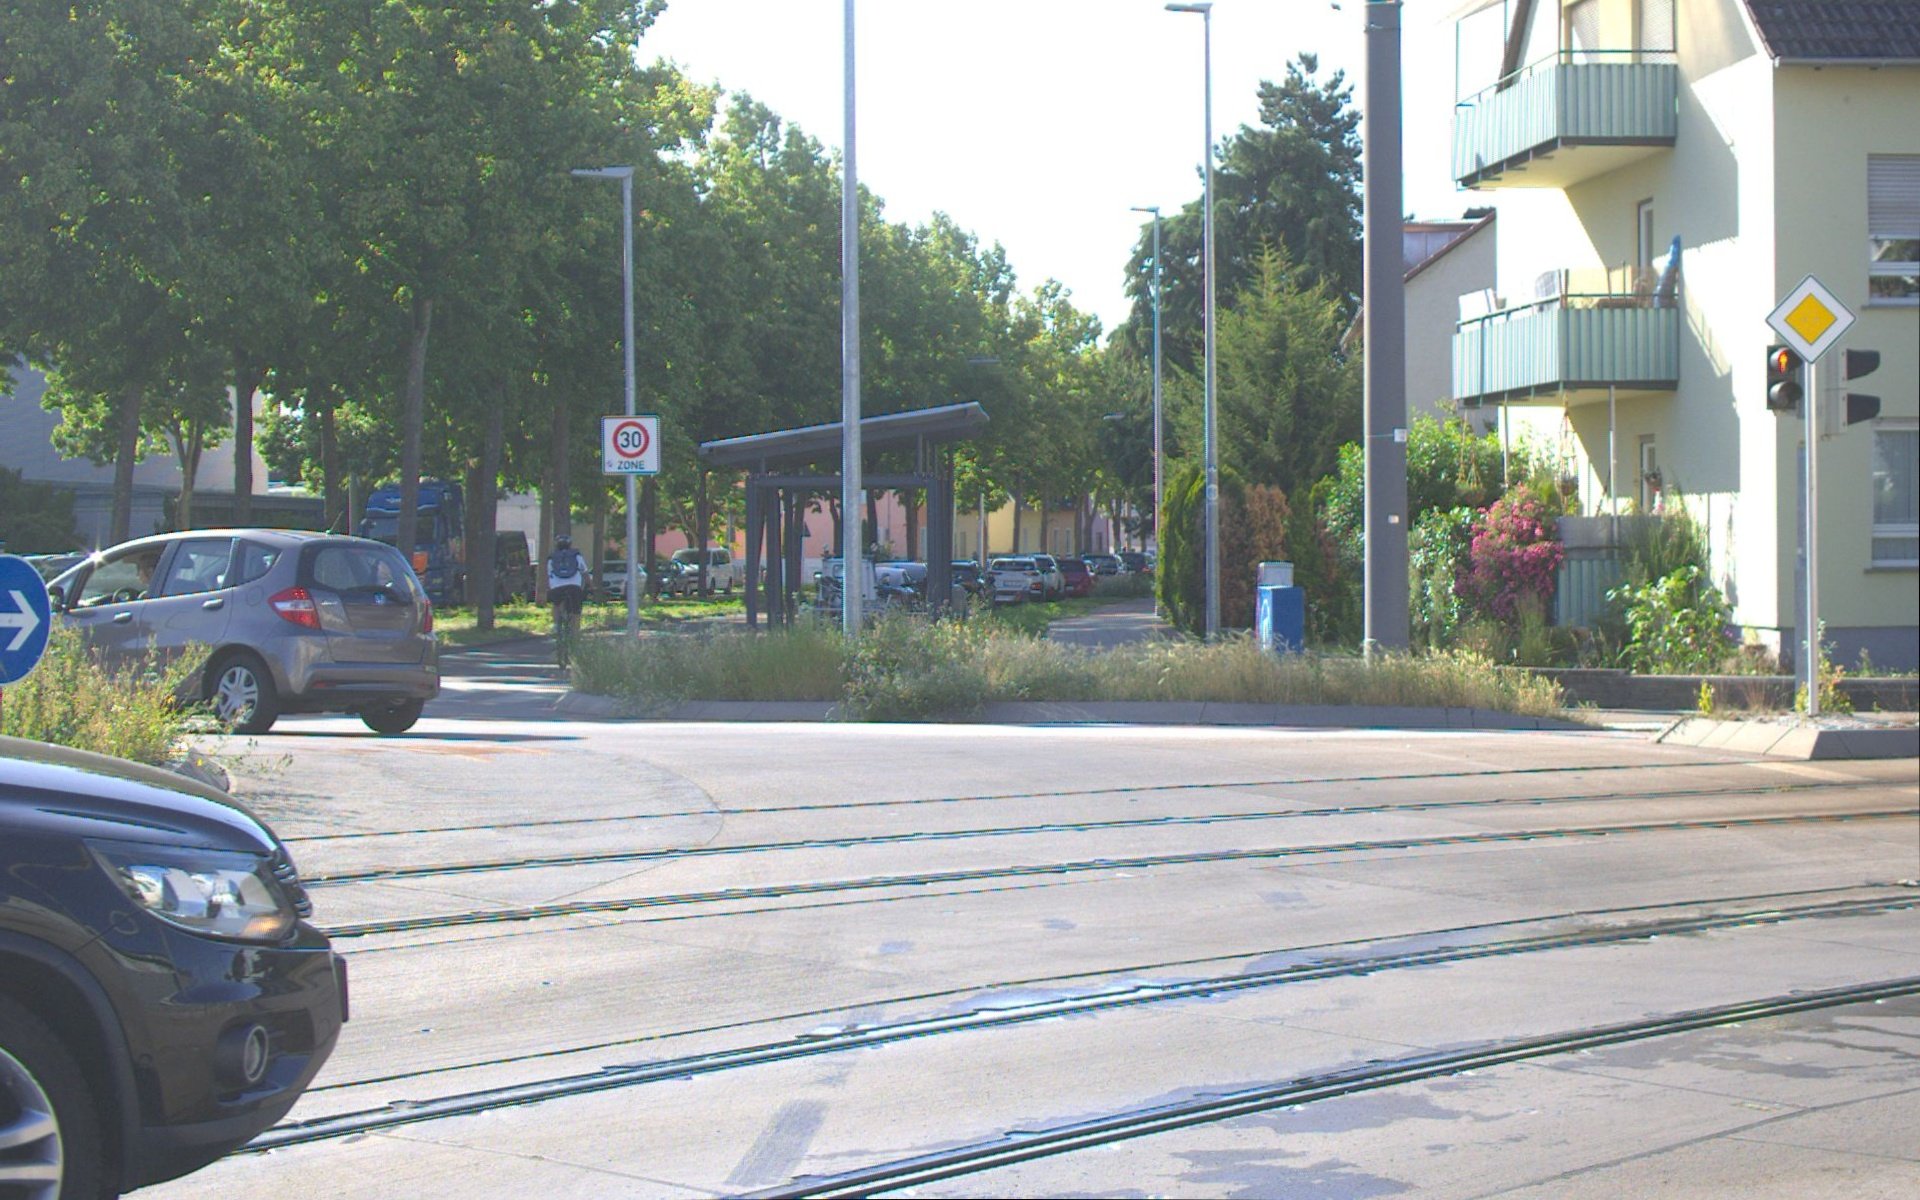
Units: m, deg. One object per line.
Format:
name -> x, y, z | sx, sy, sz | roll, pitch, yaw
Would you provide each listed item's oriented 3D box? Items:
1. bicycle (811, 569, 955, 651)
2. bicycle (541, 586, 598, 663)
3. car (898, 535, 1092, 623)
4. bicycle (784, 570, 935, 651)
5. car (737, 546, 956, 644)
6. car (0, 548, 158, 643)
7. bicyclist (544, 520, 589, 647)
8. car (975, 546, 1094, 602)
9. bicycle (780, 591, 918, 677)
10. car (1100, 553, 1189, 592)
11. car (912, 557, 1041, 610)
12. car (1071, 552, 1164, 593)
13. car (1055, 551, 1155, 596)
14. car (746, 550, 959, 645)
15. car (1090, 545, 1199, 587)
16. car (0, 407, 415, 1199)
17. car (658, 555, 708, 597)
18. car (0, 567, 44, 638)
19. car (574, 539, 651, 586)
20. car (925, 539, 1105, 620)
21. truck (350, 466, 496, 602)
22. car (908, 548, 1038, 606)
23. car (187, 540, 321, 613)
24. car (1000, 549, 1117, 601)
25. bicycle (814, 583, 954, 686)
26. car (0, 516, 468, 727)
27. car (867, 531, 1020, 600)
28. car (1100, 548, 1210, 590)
bicycle -> -1.003, 0.125, 44.617 | 1.840, 1.024, 0.689 | 1, 1, -2
bicycle -> -5.335, 0.333, 46.979 | 0.766, 1.033, 1.534 | 0, -1, -6
car -> 0.663, -0.401, 63.870 | 3.517, 1.528, 1.577 | 1, 1, 2
bicycle -> -1.332, 0.135, 45.514 | 1.973, 1.024, 0.696 | 1, 1, -2
car -> -1.862, -0.097, 57.157 | 3.517, 1.528, 1.577 | 1, 1, 2
car -> -15.733, -0.104, 60.396 | 1.831, 1.575, 4.440 | 1, 1, 6
bicyclist -> -5.391, -0.221, 47.121 | 0.603, 1.708, 0.544 | -1, -3, -6
car -> 2.149, -0.758, 99.316 | 3.359, 1.528, 1.523 | 1, 1, 1
bicycle -> -1.395, 0.423, 43.100 | 1.690, 1.024, 0.599 | 1, 1, -2
car -> 7.503, -1.127, 140.084 | 3.517, 1.528, 1.577 | 1, 1, 1
car -> 0.468, -0.469, 95.495 | 3.442, 1.389, 1.237 | 1, 1, 5
car -> 6.126, -1.075, 134.028 | 3.517, 1.528, 1.577 | 1, 1, 1
car -> 5.195, -0.949, 123.414 | 3.517, 1.528, 1.577 | 1, 1, 1
car -> -1.819, -0.047, 58.910 | 3.517, 1.528, 1.577 | 1, 1, 2
car -> 6.075, -1.124, 113.440 | 3.517, 1.275, 1.577 | 1, 1, 1
car -> -3.288, 0.472, 6.327 | 4.242, 1.665, 1.818 | -1, 3, -20
car -> -11.247, -0.981, 139.701 | 1.647, 1.642, 3.569 | 1, 1, 1
car -> -19.385, 0.020, 67.404 | 1.961, 1.319, 4.001 | 1, 1, -3
car -> -12.821, -1.388, 127.044 | 1.994, 1.694, 4.217 | 1, 1, 6
car -> 1.104, -0.412, 68.268 | 3.517, 1.528, 1.577 | 1, 1, 2
truck -> -16.533, -2.047, 106.358 | 3.069, 3.979, 8.008 | 1, 1, 1
car -> 0.362, -0.635, 93.574 | 3.412, 1.528, 1.524 | 0, 1, 5
car -> -18.176, -0.619, 88.736 | 1.994, 1.766, 5.059 | 1, 1, 5
car -> 2.973, -0.760, 104.061 | 3.479, 1.488, 1.552 | 1, 1, 1
bicycle -> -0.934, 0.415, 41.823 | 1.665, 1.203, 0.689 | 1, 1, -2
car -> -5.735, 0.124, 25.933 | 3.909, 1.486, 1.690 | 0, 1, 35
car -> -0.378, -0.819, 81.014 | 3.517, 1.528, 1.577 | 1, 1, 2
car -> 6.416, -1.032, 113.450 | 3.517, 1.291, 1.577 | 1, 1, 1
